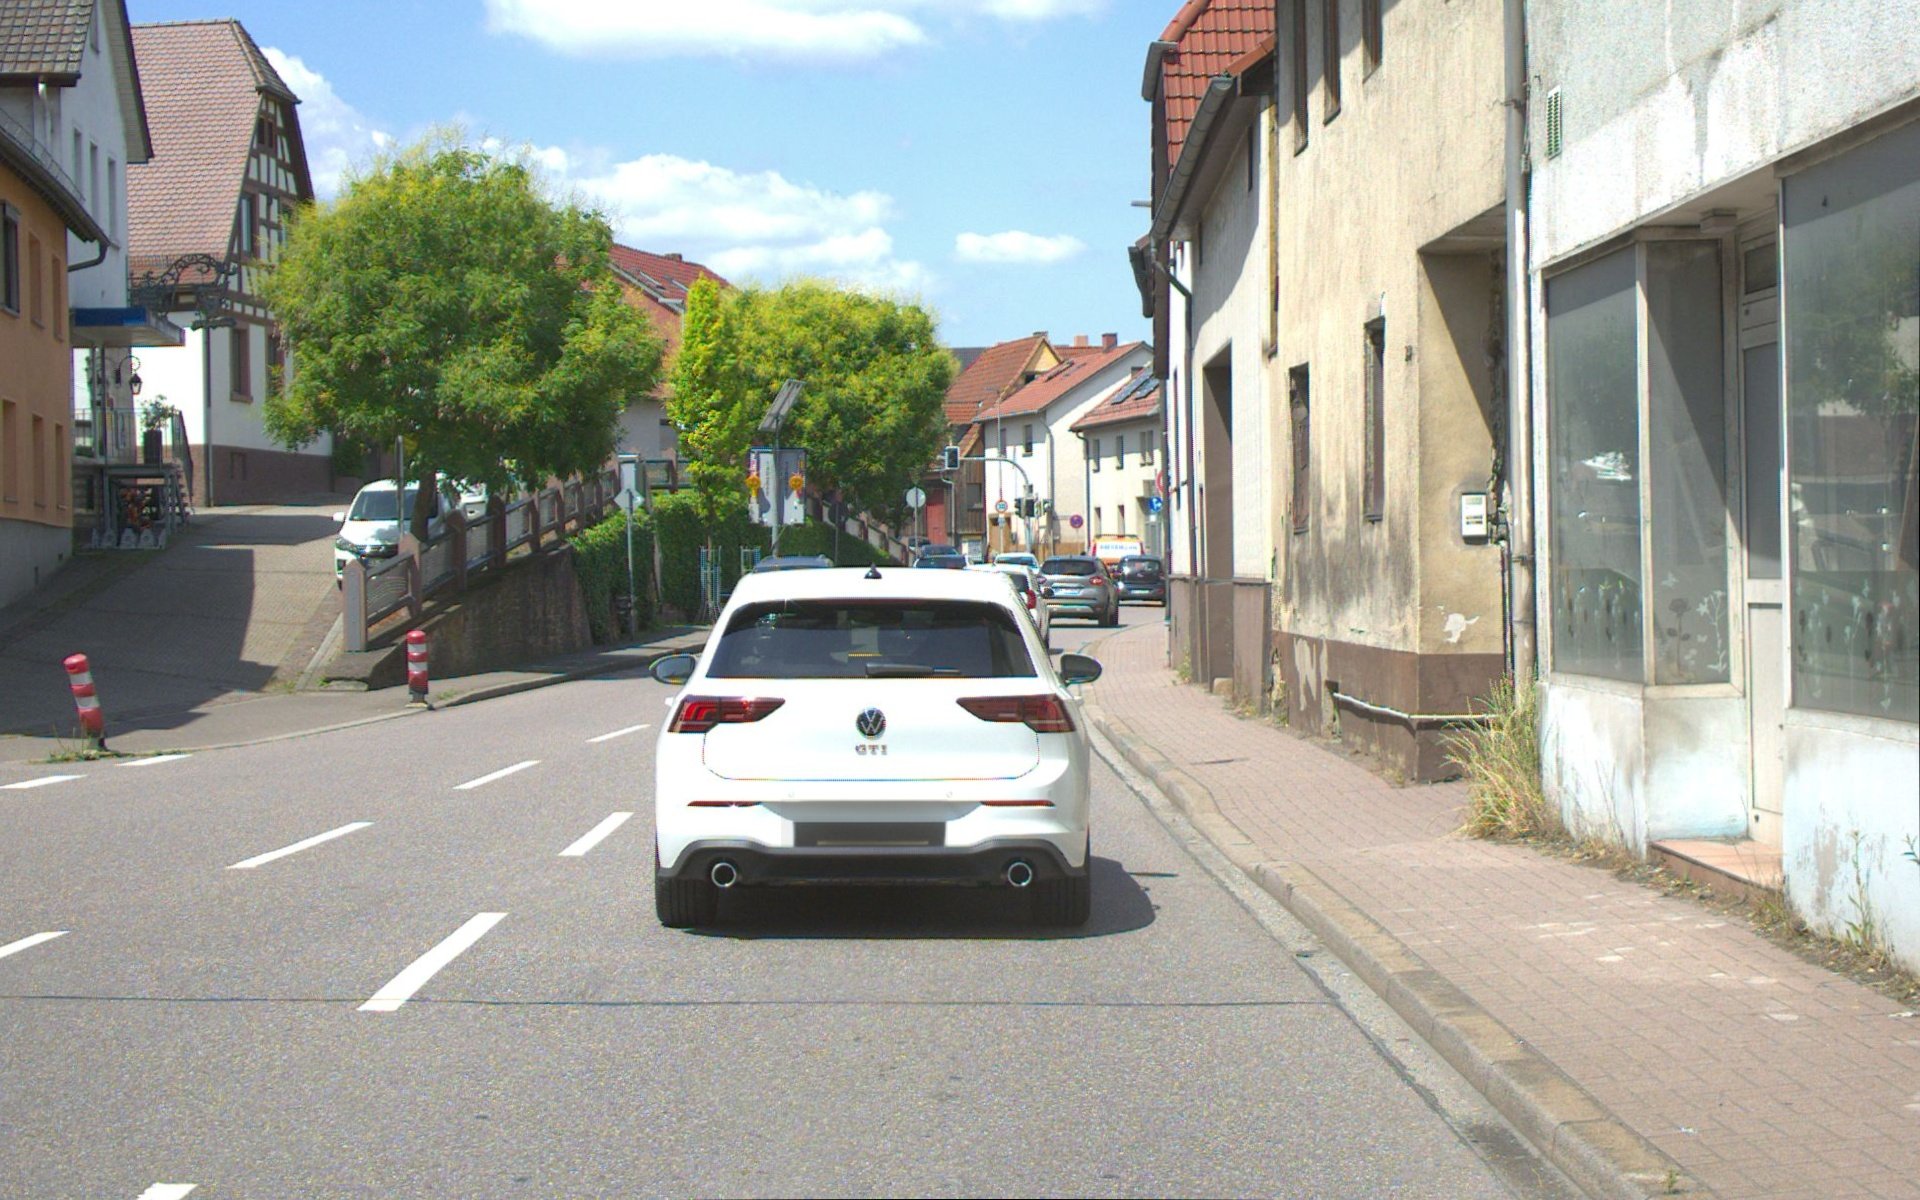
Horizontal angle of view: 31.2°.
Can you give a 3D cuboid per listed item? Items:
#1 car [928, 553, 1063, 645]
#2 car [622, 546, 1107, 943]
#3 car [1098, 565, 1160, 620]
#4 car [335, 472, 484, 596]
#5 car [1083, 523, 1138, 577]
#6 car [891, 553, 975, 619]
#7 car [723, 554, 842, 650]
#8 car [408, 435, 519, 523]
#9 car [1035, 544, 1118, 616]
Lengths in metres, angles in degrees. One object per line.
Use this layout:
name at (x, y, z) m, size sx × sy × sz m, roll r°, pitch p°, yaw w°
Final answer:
car at (0.634, -0.029, 57.973) m, size 1.808 × 1.462 × 3.999 m, roll 1°, pitch 0°, yaw 7°
car at (-0.321, 0.528, 14.985) m, size 1.808 × 1.462 × 4.000 m, roll 1°, pitch 0°, yaw 1°
car at (4.926, -0.223, 100.354) m, size 1.775 × 1.533 × 4.000 m, roll 0°, pitch 1°, yaw 3°
car at (-8.393, -1.040, 52.667) m, size 1.693 × 1.537 × 3.857 m, roll 0°, pitch 6°, yaw -1°
car at (5.075, -1.680, 115.760) m, size 1.775 × 1.759 × 4.000 m, roll 0°, pitch 1°, yaw 3°
car at (-0.646, -0.373, 85.657) m, size 1.842 × 1.574 × 4.445 m, roll -1°, pitch 1°, yaw 2°
car at (-3.146, 0.005, 61.600) m, size 1.758 × 1.630 × 4.049 m, roll -1°, pitch 1°, yaw 2°
car at (-9.341, -2.313, 64.894) m, size 1.576 × 1.357 × 3.857 m, roll 0°, pitch 6°, yaw -1°
car at (2.576, -0.469, 76.425) m, size 1.775 × 1.533 × 4.000 m, roll 0°, pitch 1°, yaw 1°
